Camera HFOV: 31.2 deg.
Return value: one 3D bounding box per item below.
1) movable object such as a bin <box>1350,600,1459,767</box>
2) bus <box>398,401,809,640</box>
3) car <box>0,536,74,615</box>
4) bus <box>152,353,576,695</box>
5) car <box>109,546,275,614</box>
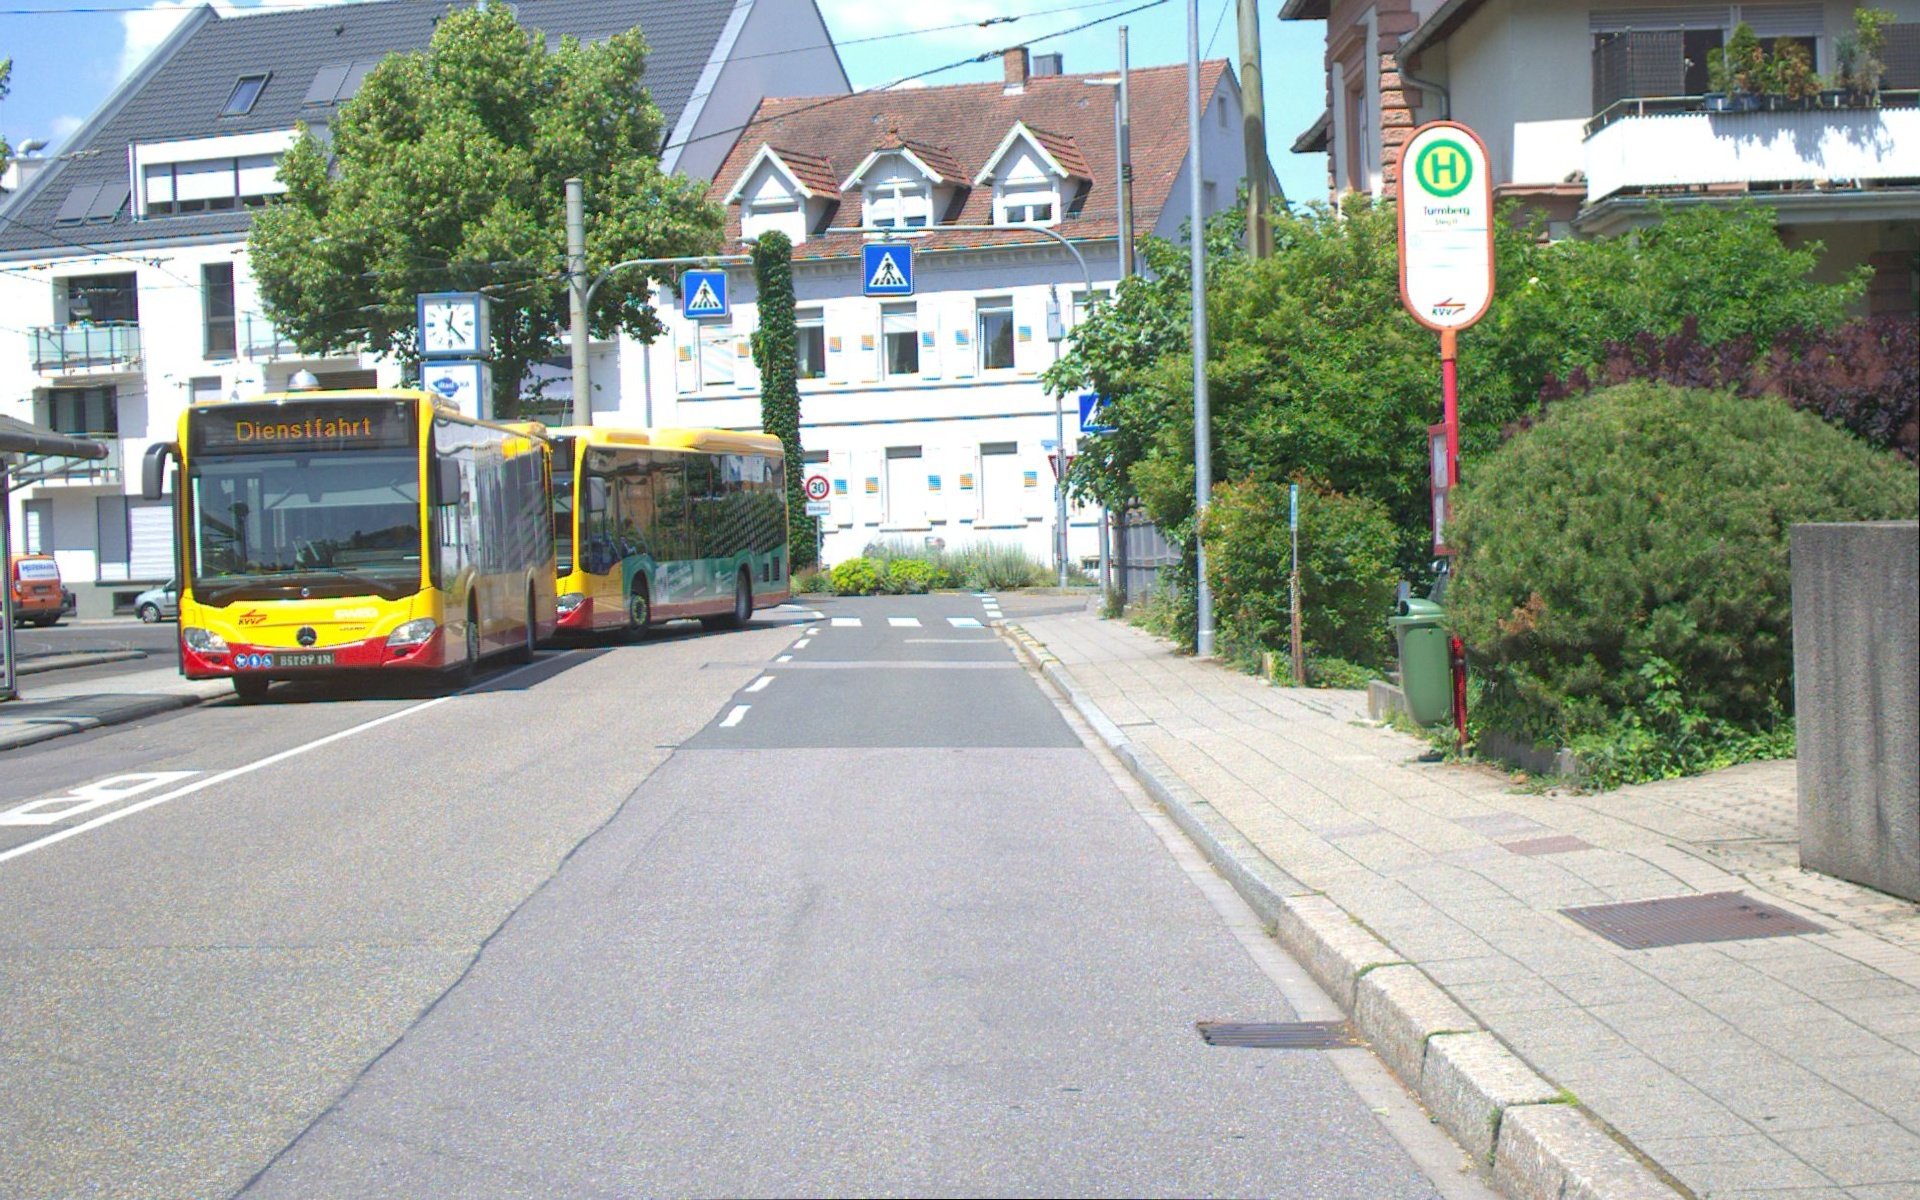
[{"bbox_3d":[2.537,0.468,19.652,0.406,0.904,0.729,-5,0,-4],"label":"movable object such as a bin"},{"bbox_3d":[-5.072,-1.252,52.297,2.781,3.197,12.301,0,2,11],"label":"bus"},{"bbox_3d":[-25.284,-0.617,89.523,3.993,2.007,1.997,0,-1,29],"label":"car"},{"bbox_3d":[-6.352,-0.776,38.789,2.907,3.237,12.119,0,1,-1],"label":"bus"},{"bbox_3d":[-20.391,-0.516,91.316,3.992,1.771,1.855,0,-1,24],"label":"car"}]
